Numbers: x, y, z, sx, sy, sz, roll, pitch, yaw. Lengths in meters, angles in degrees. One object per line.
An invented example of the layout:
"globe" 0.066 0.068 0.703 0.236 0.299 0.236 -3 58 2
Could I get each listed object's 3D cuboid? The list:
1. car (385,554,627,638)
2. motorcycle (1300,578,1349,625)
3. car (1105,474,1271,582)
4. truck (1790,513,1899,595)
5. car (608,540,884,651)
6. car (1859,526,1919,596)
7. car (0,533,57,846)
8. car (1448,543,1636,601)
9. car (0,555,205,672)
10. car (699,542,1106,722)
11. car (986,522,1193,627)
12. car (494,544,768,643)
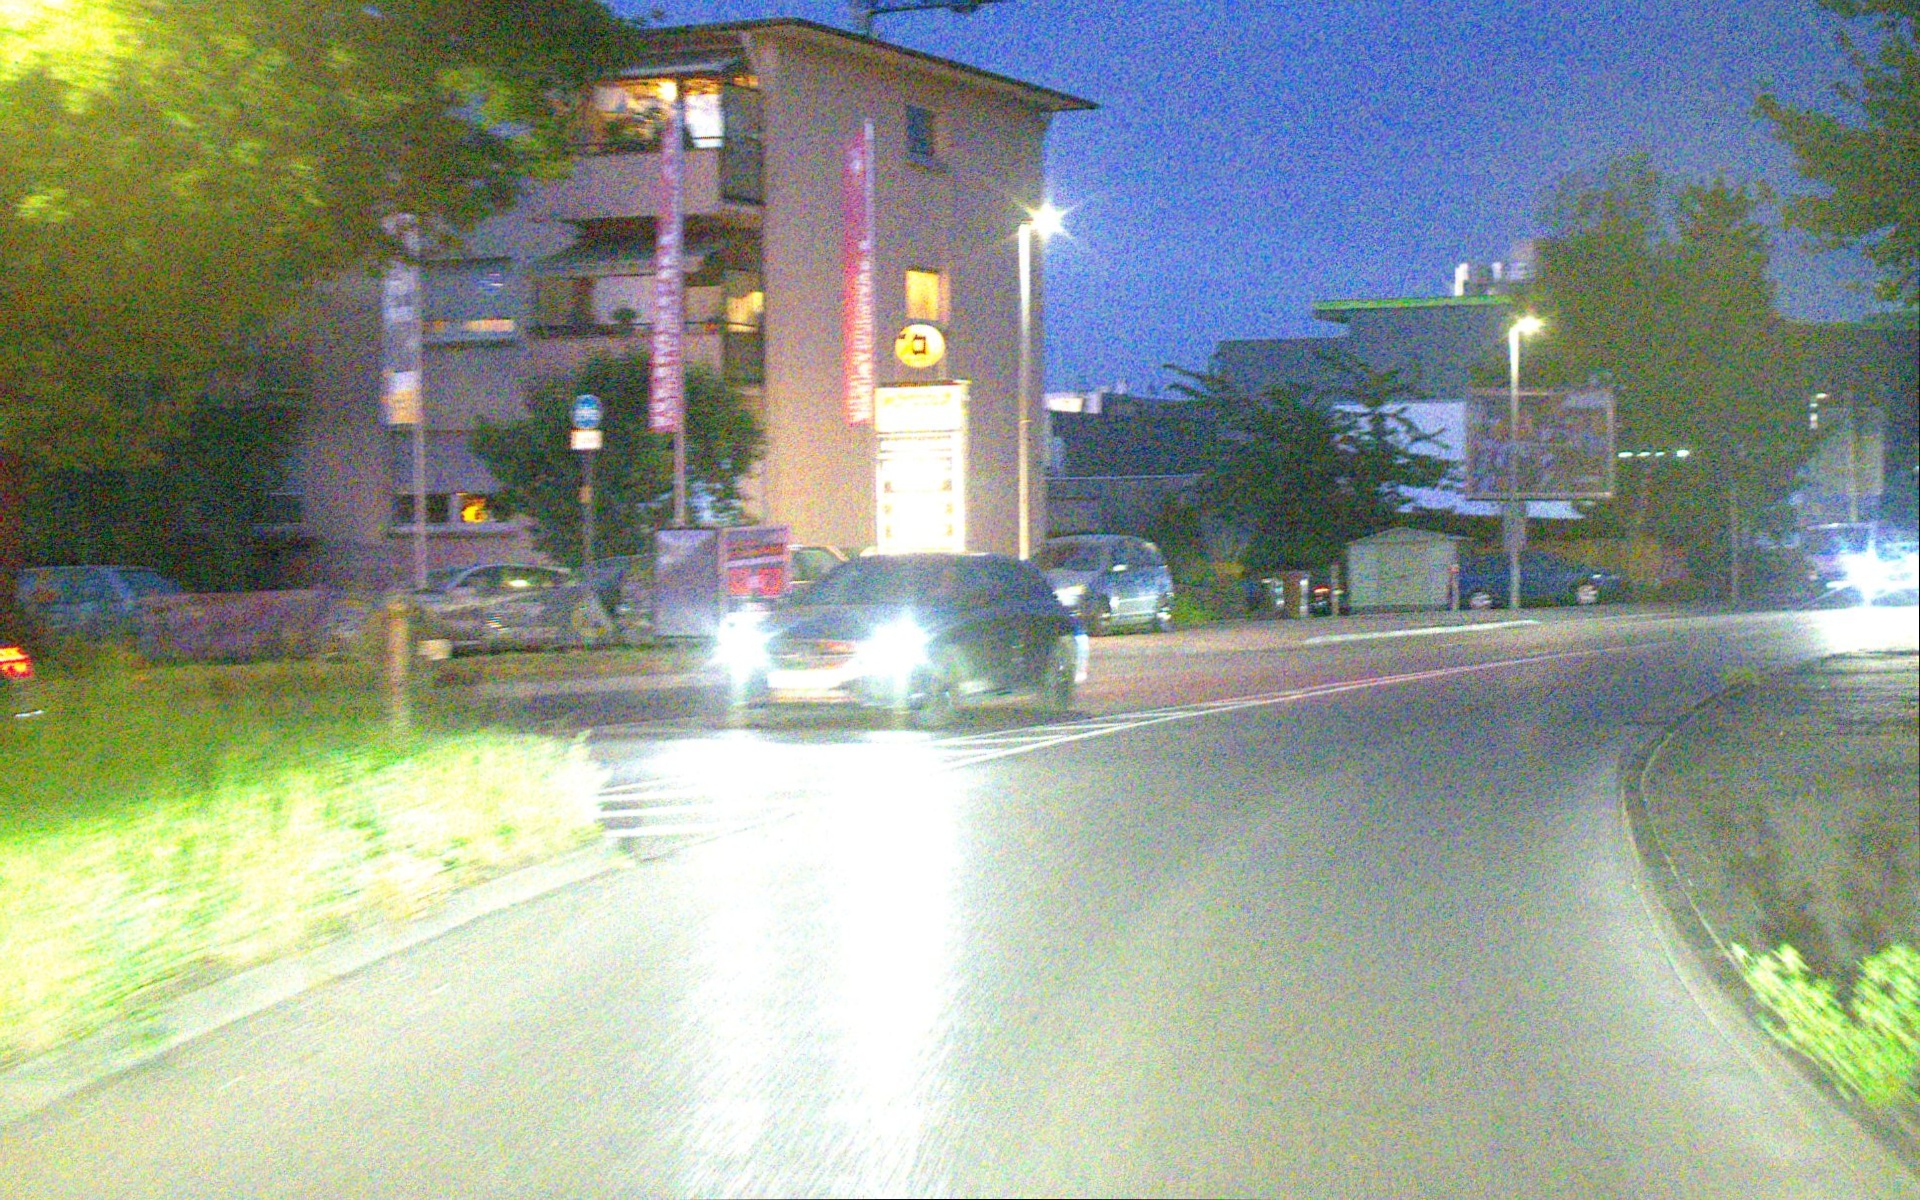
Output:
"car" -6.452 -0.083 49.052 1.548 1.127 3.206 1 2 41
"motorcycle" 9.261 0.034 87.194 0.986 1.140 1.848 0 1 14
"car" 4.630 -1.483 69.217 1.996 2.006 3.995 2 3 25
"truck" 24.281 -1.263 94.181 2.251 2.122 5.974 -2 0 20
"car" -2.837 -0.091 46.106 1.548 1.415 3.690 1 2 41
"car" 22.918 -0.972 82.339 1.758 1.602 4.446 -1 1 27
"car" -5.679 0.418 14.343 1.760 1.440 4.524 1 1 14
"car" 14.409 -0.693 85.117 4.353 1.355 1.641 -1 0 21
"car" -11.238 0.193 42.256 3.505 1.355 1.495 -2 -1 17
"car" -0.390 0.230 29.351 1.761 1.398 4.582 -1 0 23
"car" 2.111 -0.426 54.668 1.757 1.602 4.446 1 1 24
"car" -4.511 -0.117 47.445 1.548 1.307 3.690 1 2 42
